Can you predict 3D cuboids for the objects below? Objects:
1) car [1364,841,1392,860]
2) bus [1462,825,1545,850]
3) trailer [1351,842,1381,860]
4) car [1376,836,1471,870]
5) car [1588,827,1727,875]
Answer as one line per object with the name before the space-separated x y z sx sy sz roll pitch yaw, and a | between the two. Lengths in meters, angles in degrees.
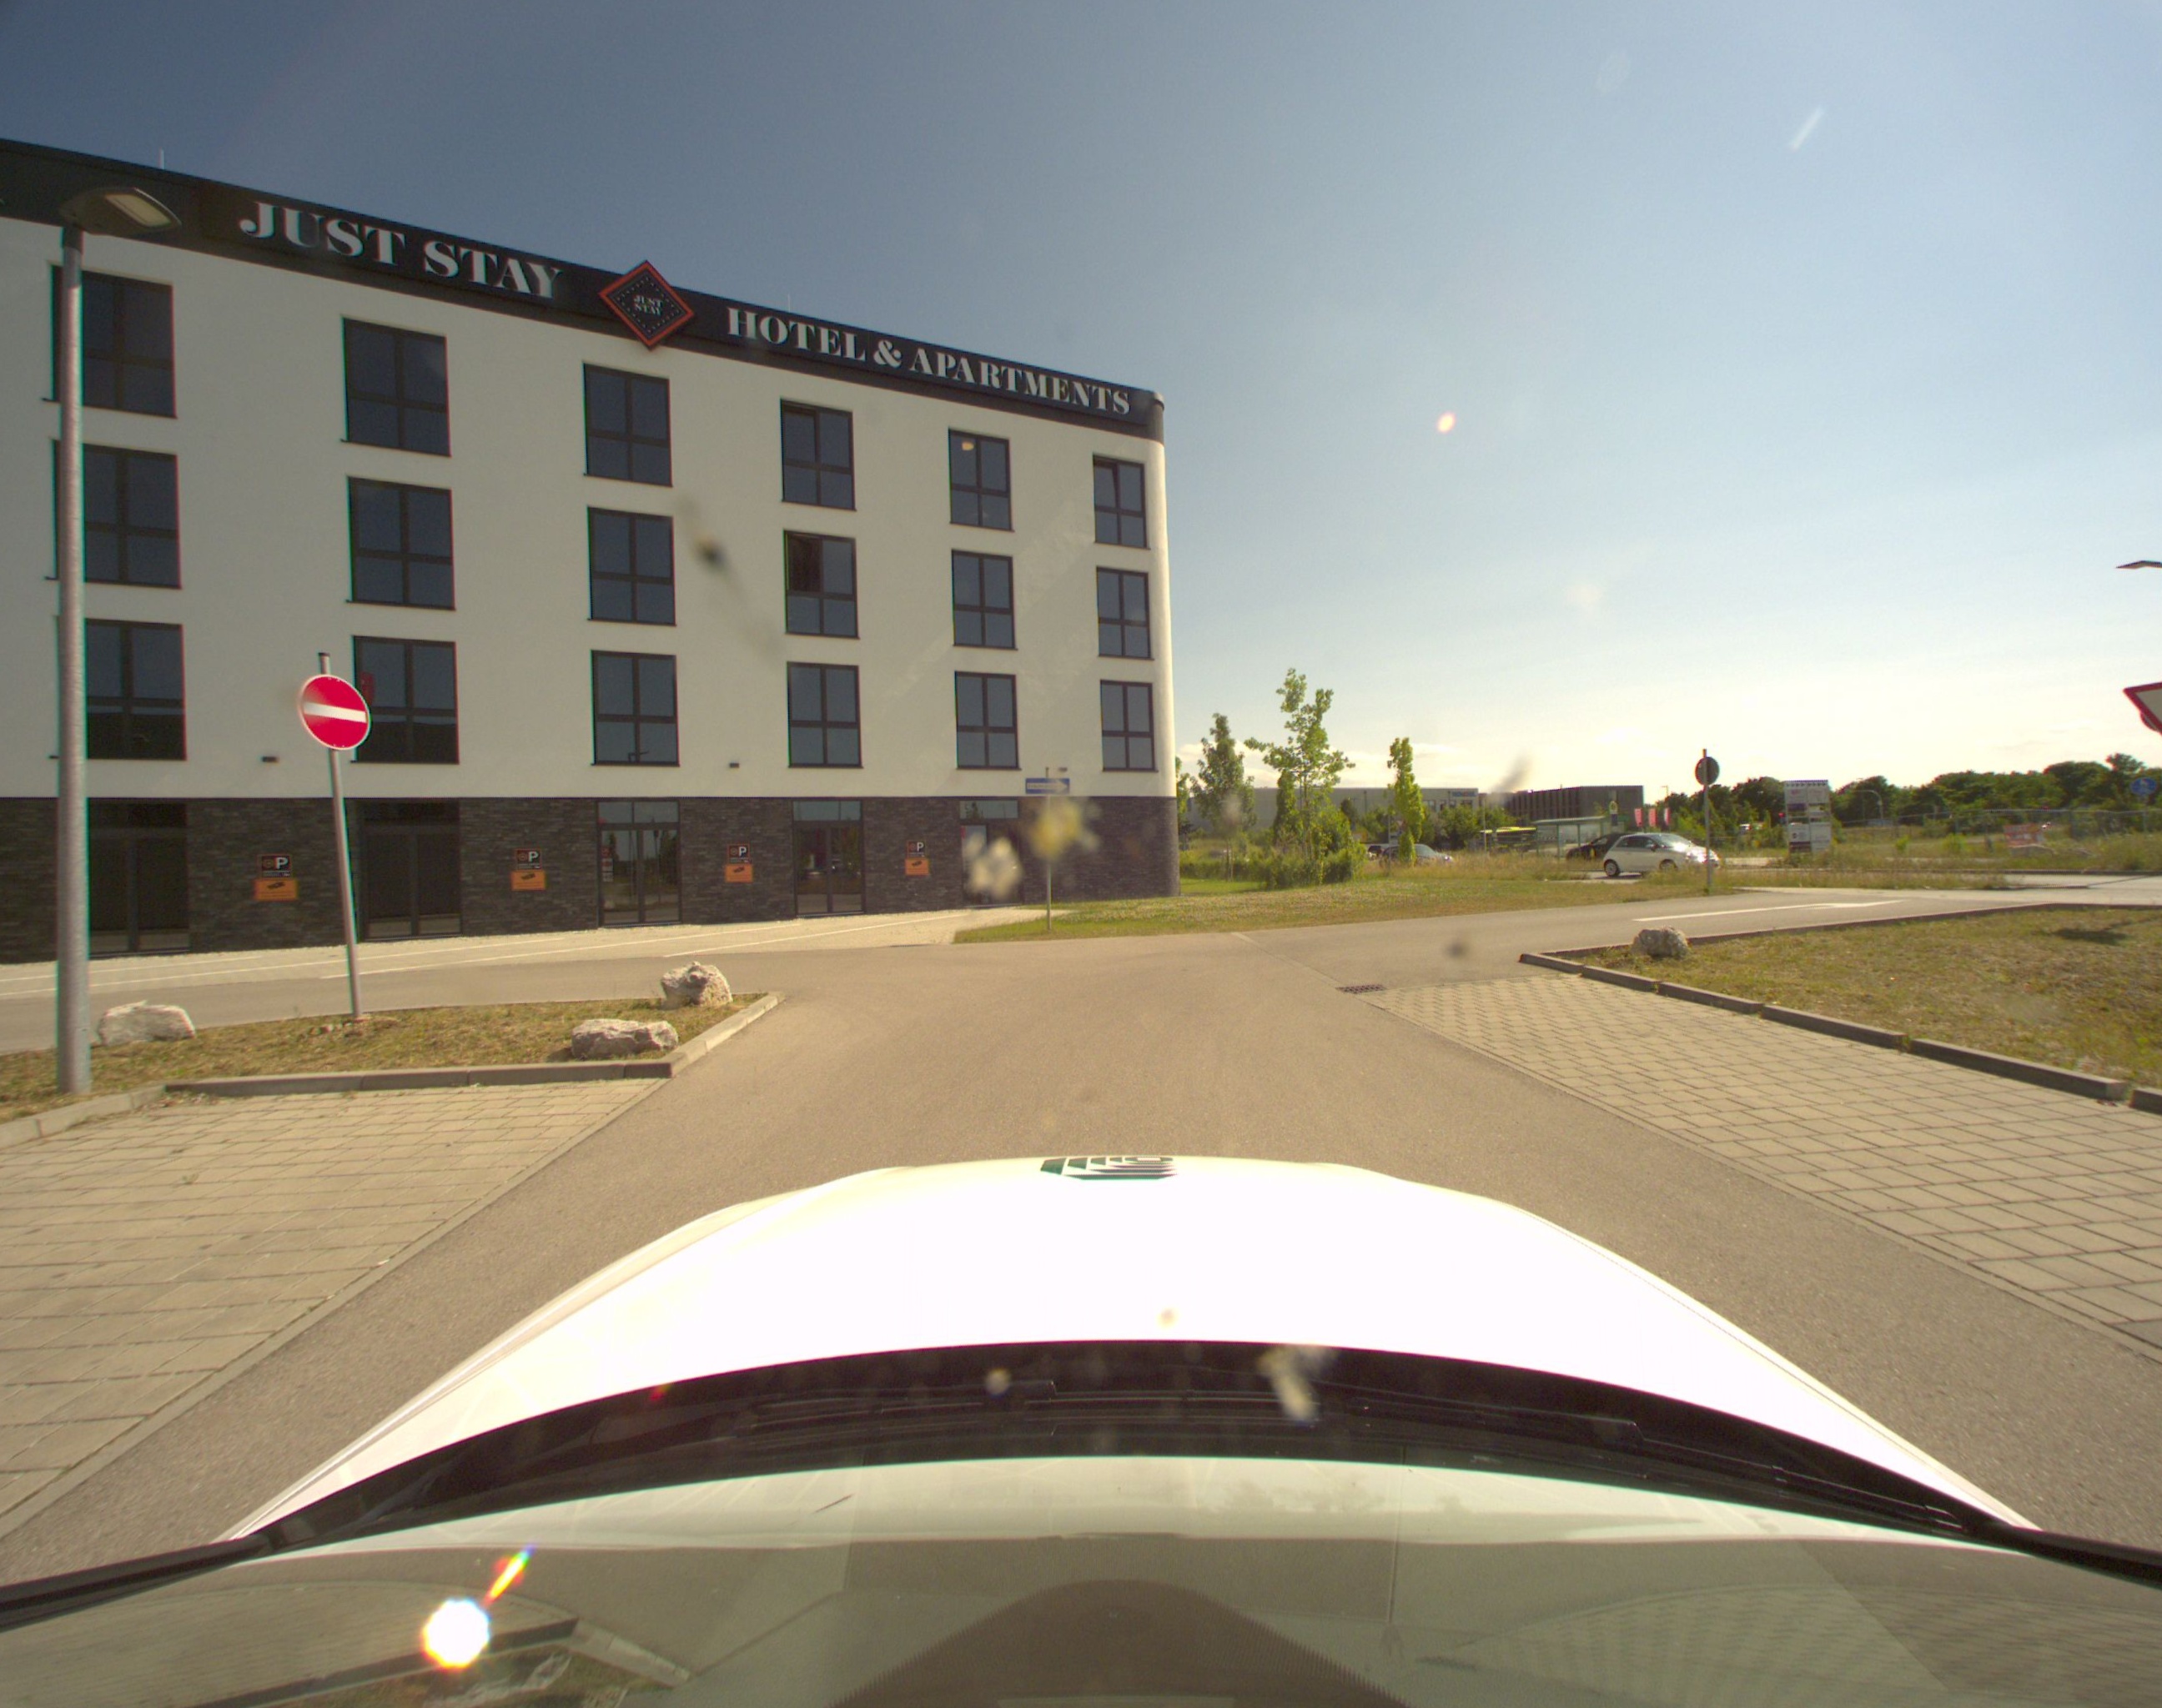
car | 31.635 -0.392 86.690 1.804 1.859 4.026 -1 0 35
bus | 51.283 -2.004 98.760 11.592 2.735 2.558 -2 1 -26
trailer | 29.276 -0.322 83.501 1.804 1.859 4.026 -1 0 35
car | 16.908 -0.039 40.480 1.914 1.551 4.359 -1 0 -20
car | 19.950 -0.112 28.374 1.738 1.551 3.766 -1 0 -13
